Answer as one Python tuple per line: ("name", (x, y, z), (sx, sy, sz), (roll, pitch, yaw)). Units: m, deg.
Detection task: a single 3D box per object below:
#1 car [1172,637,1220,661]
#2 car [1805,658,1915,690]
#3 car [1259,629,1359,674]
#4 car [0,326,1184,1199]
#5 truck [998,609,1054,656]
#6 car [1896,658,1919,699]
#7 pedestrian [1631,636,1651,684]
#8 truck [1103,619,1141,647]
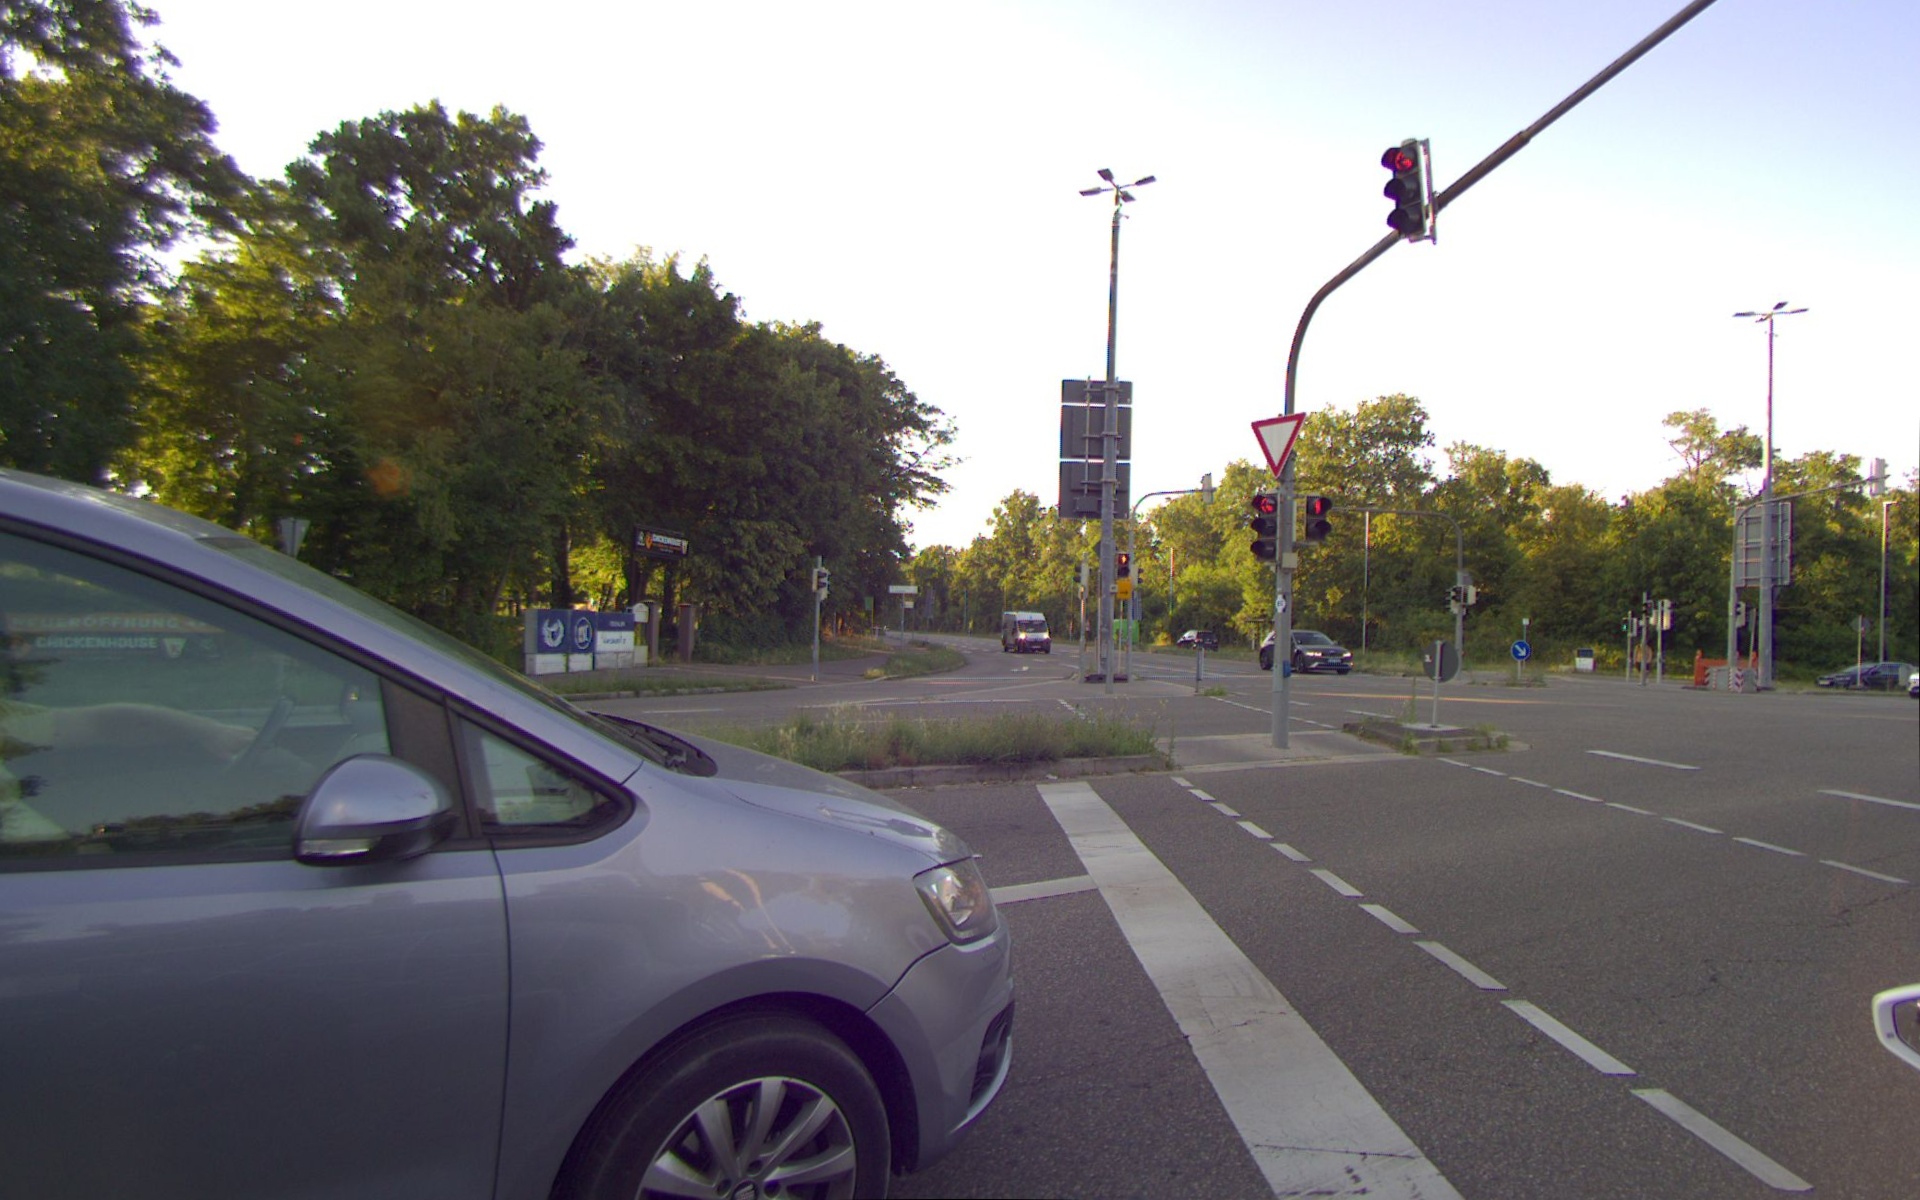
("car", (15.779, 3.241, 67.292), (1.634, 1.345, 4.040), (2, 0, -10))
("car", (40.184, 3.294, 44.901), (3.577, 1.260, 1.607), (2, -1, -3))
("car", (13.106, 1.901, 37.989), (1.966, 1.540, 3.995), (2, -1, -8))
("car", (-1.914, 0.521, 1.963), (4.608, 1.747, 1.856), (2, -1, -32))
("truck", (3.977, 1.902, 61.533), (2.556, 2.591, 6.019), (2, 0, -4))
("car", (37.850, 3.026, 38.317), (4.176, 1.475, 1.711), (2, -2, -25))
("pedestrian", (26.364, 2.311, 38.890), (0.565, 1.824, 0.749), (1, -1, 29))
("truck", (13.389, 2.704, 83.209), (1.964, 2.149, 3.994), (2, -1, -9))
